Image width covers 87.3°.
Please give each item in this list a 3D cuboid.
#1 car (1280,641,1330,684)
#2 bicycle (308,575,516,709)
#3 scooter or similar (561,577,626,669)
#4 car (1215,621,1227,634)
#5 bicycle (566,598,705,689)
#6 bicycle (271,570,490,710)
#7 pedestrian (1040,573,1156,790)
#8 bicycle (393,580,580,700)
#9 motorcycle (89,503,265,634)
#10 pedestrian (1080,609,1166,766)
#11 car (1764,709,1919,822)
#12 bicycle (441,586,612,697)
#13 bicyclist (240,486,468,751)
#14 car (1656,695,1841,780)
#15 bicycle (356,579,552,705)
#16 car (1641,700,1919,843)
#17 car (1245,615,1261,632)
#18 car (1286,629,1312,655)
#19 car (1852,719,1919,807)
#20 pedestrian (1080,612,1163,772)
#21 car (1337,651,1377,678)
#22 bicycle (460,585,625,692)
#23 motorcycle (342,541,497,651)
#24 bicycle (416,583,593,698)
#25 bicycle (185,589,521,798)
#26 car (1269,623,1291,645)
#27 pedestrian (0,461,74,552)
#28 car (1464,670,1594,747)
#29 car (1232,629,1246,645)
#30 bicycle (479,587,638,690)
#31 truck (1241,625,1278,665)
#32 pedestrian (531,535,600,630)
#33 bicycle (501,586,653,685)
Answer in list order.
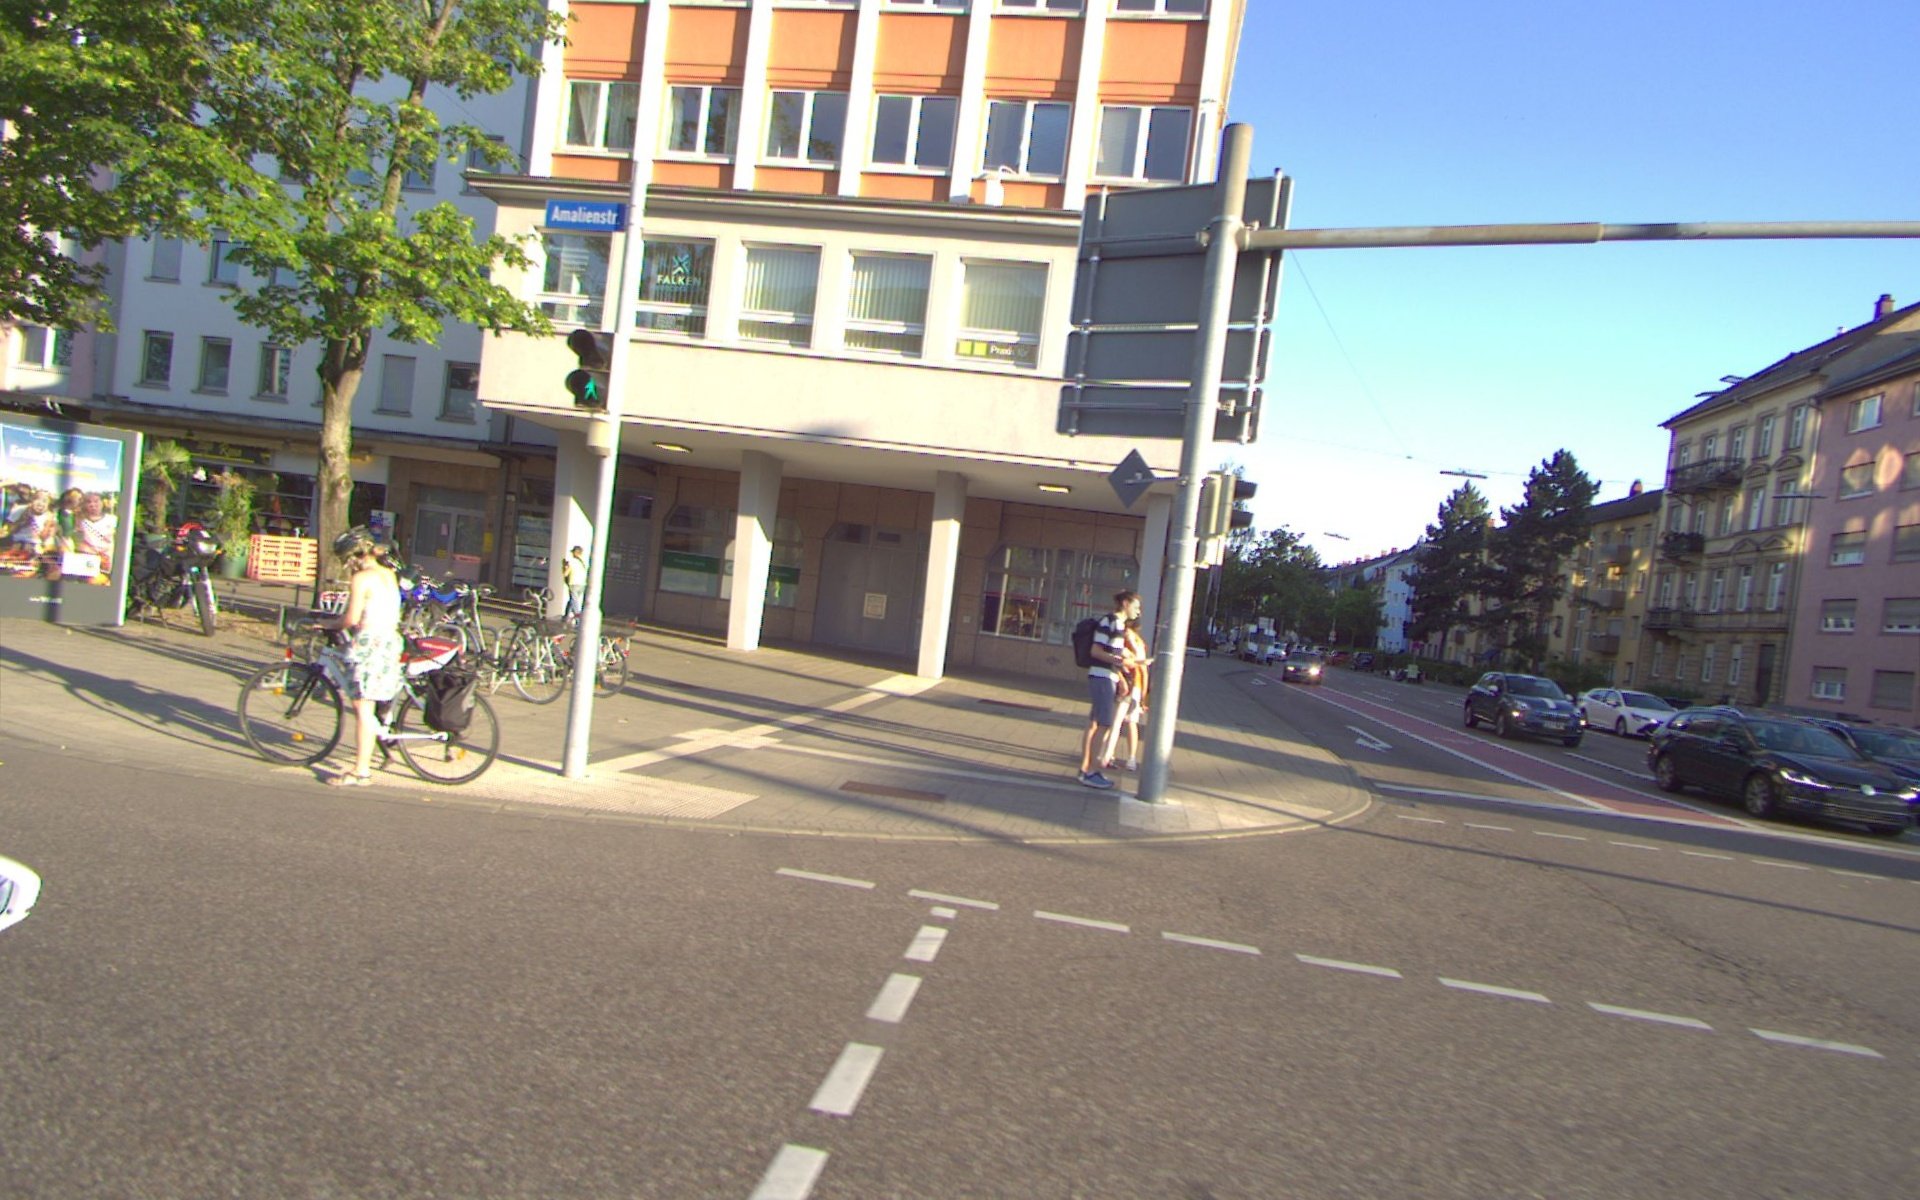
[{"bbox_3d":[15.386,2.781,45.032,1.708,1.595,4.112,8,0,16],"label":"car"},{"bbox_3d":[-5.324,0.399,9.792,1.761,1.040,0.361,8,1,4],"label":"bicycle"},{"bbox_3d":[-5.818,0.340,15.932,0.307,1.279,1.508,7,1,-42],"label":"scooter or similar"},{"bbox_3d":[56.193,5.883,216.409,1.962,2.550,4.003,8,0,12],"label":"car"},{"bbox_3d":[-4.624,0.610,14.368,1.761,1.040,0.365,8,1,3],"label":"bicycle"},{"bbox_3d":[-5.368,0.364,9.340,1.761,1.040,0.361,8,1,4],"label":"bicycle"},{"bbox_3d":[1.389,0.786,10.032,0.832,1.982,0.702,7,2,15],"label":"pedestrian"},{"bbox_3d":[-5.126,0.433,10.915,1.761,1.040,0.369,8,1,3],"label":"bicycle"},{"bbox_3d":[-9.865,-0.400,12.655,2.162,1.360,0.643,8,1,22],"label":"motorcycle"},{"bbox_3d":[1.927,1.009,11.847,0.758,1.715,0.518,7,2,13],"label":"pedestrian"},{"bbox_3d":[16.092,2.871,17.214,1.962,1.486,4.245,8,-1,16],"label":"car"},{"bbox_3d":[-5.071,0.476,11.784,1.761,1.040,0.361,8,1,4],"label":"bicycle"},{"bbox_3d":[-3.847,0.120,6.458,0.792,1.498,0.798,8,0,3],"label":"bicyclist"},{"bbox_3d":[20.523,3.516,26.470,1.673,1.513,4.541,8,0,9],"label":"car"},{"bbox_3d":[-5.213,0.426,10.387,1.761,1.040,0.361,8,1,4],"label":"bicycle"},{"bbox_3d":[12.380,2.467,15.381,1.895,1.443,4.192,6,-1,16],"label":"car"},{"bbox_3d":[48.909,3.978,167.897,1.962,2.550,4.003,8,0,12],"label":"car"},{"bbox_3d":[37.555,4.618,111.528,1.962,2.550,4.003,8,0,12],"label":"car"},{"bbox_3d":[19.166,3.291,18.991,1.627,1.540,4.184,8,0,16],"label":"car"},{"bbox_3d":[1.820,1.013,11.299,0.694,1.665,0.518,7,2,13],"label":"pedestrian"},{"bbox_3d":[32.555,5.274,82.614,1.962,1.807,4.003,8,0,9],"label":"car"},{"bbox_3d":[-5.052,0.464,12.206,1.761,1.040,0.365,8,1,3],"label":"bicycle"},{"bbox_3d":[-7.598,-0.013,14.293,0.631,1.370,2.150,8,0,9],"label":"motorcycle"},{"bbox_3d":[-5.131,0.454,11.353,1.761,1.040,0.361,8,1,4],"label":"bicycle"},{"bbox_3d":[-3.862,0.577,6.458,1.761,1.040,0.516,8,0,3],"label":"bicycle"},{"bbox_3d":[41.760,4.430,131.341,1.962,2.550,4.003,8,0,12],"label":"car"},{"bbox_3d":[-19.391,-1.932,21.054,0.759,1.748,0.893,8,2,2],"label":"pedestrian"},{"bbox_3d":[14.294,2.673,25.512,1.770,1.469,3.926,7,0,15],"label":"car"},{"bbox_3d":[50.672,6.703,182.675,1.962,2.550,4.003,8,0,12],"label":"car"},{"bbox_3d":[-5.025,0.475,12.615,1.761,1.040,0.365,8,1,3],"label":"bicycle"},{"bbox_3d":[20.240,3.014,68.209,1.962,2.373,4.000,7,1,14],"label":"truck"},{"bbox_3d":[-7.800,-0.341,19.898,0.860,1.746,0.656,8,1,8],"label":"pedestrian"},{"bbox_3d":[-4.993,0.462,13.140,1.761,1.040,0.365,8,1,3],"label":"bicycle"}]
